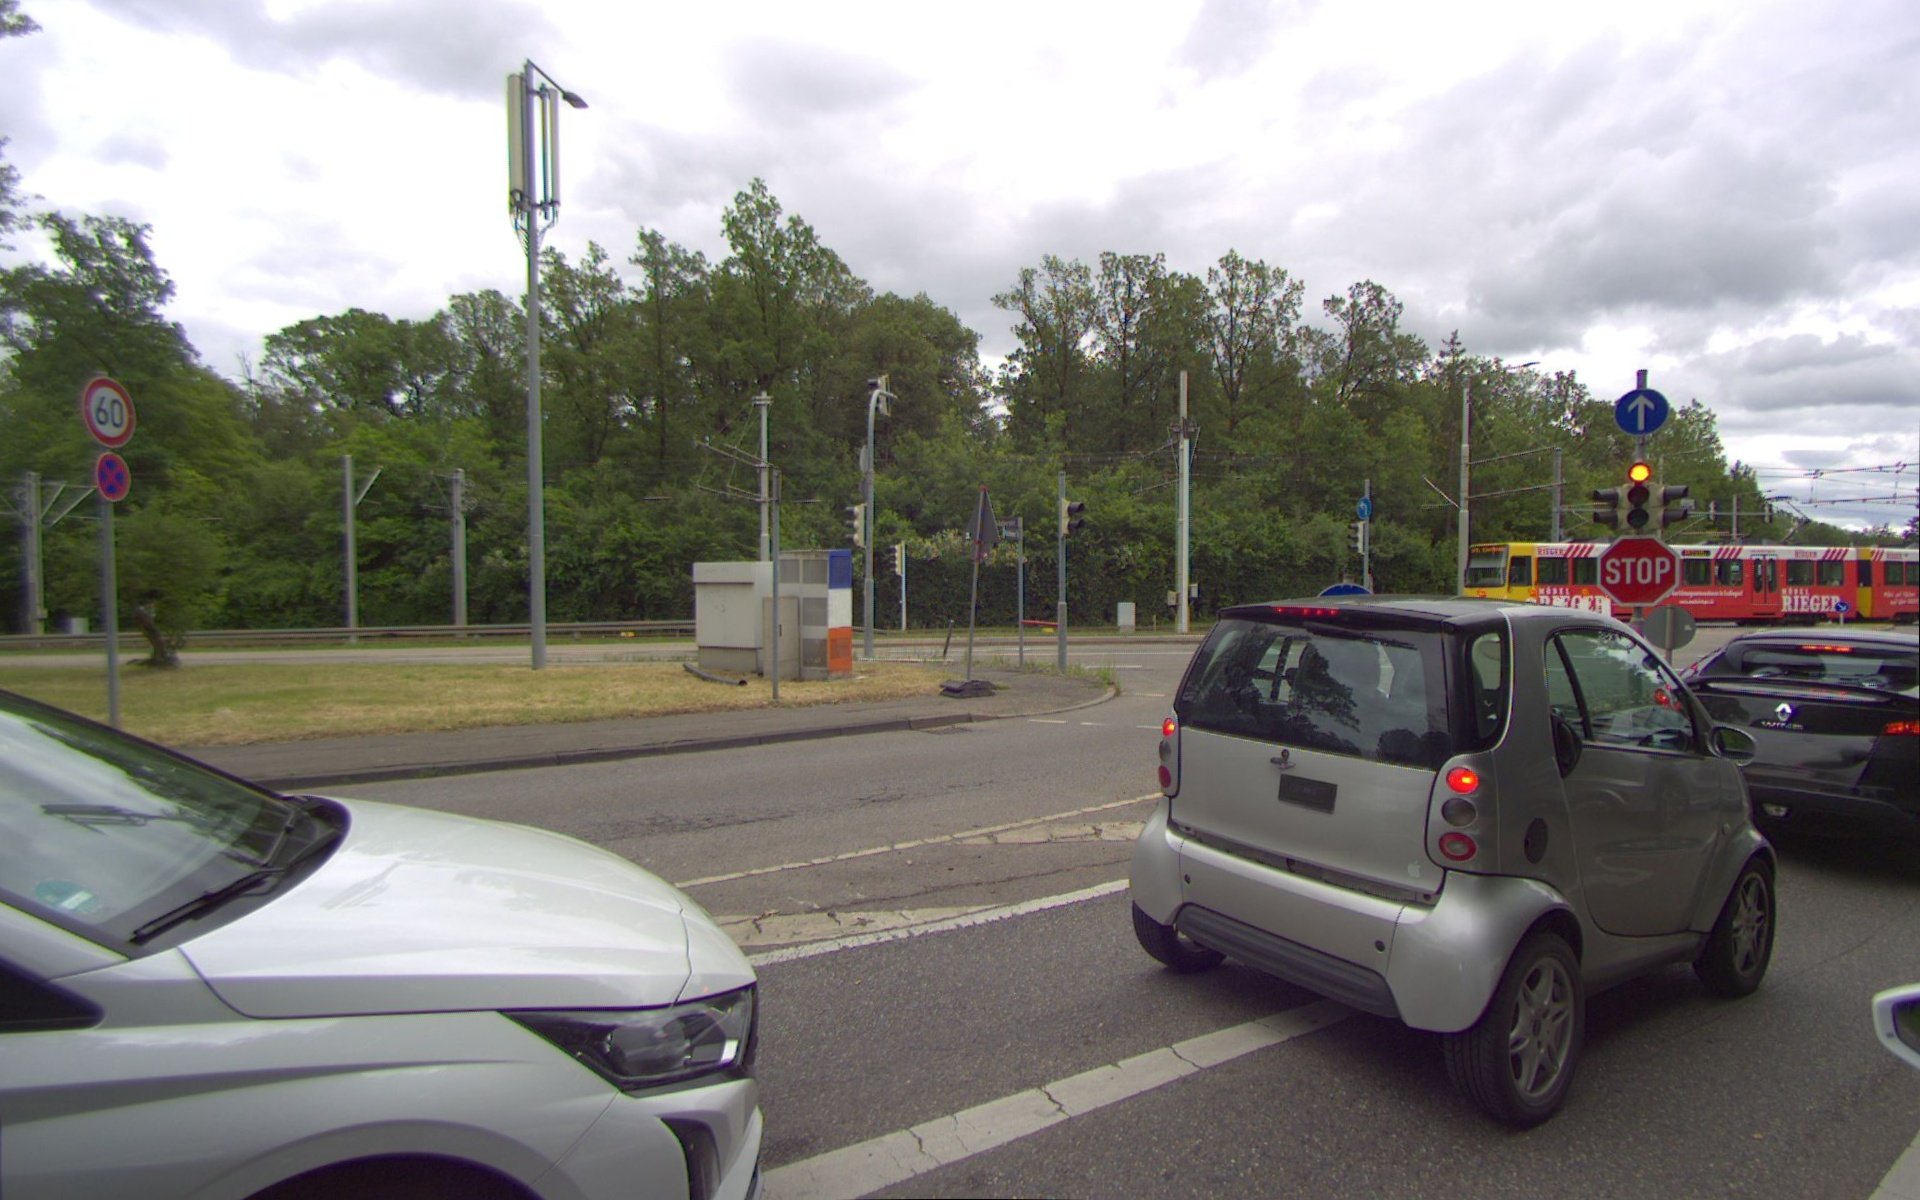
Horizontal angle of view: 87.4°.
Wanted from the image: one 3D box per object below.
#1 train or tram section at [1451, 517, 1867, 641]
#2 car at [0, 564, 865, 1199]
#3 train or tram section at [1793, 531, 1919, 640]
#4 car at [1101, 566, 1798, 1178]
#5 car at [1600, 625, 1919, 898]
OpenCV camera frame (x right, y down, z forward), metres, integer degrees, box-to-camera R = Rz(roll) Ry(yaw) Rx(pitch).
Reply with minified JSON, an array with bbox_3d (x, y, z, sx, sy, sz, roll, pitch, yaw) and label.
[{"bbox_3d":[29.981,-0.757,42.893,18.407,4.477,2.958,2,0,-13],"label":"train or tram section"},{"bbox_3d":[-2.319,0.706,1.611,4.022,1.499,1.643,0,0,-28],"label":"car"},{"bbox_3d":[47.609,-0.394,48.647,18.278,4.712,2.940,2,0,-23],"label":"train or tram section"},{"bbox_3d":[2.039,0.722,4.033,2.701,1.607,1.447,0,0,-36],"label":"car"},{"bbox_3d":[6.013,0.899,6.917,3.447,1.380,1.759,0,0,-40],"label":"car"}]
